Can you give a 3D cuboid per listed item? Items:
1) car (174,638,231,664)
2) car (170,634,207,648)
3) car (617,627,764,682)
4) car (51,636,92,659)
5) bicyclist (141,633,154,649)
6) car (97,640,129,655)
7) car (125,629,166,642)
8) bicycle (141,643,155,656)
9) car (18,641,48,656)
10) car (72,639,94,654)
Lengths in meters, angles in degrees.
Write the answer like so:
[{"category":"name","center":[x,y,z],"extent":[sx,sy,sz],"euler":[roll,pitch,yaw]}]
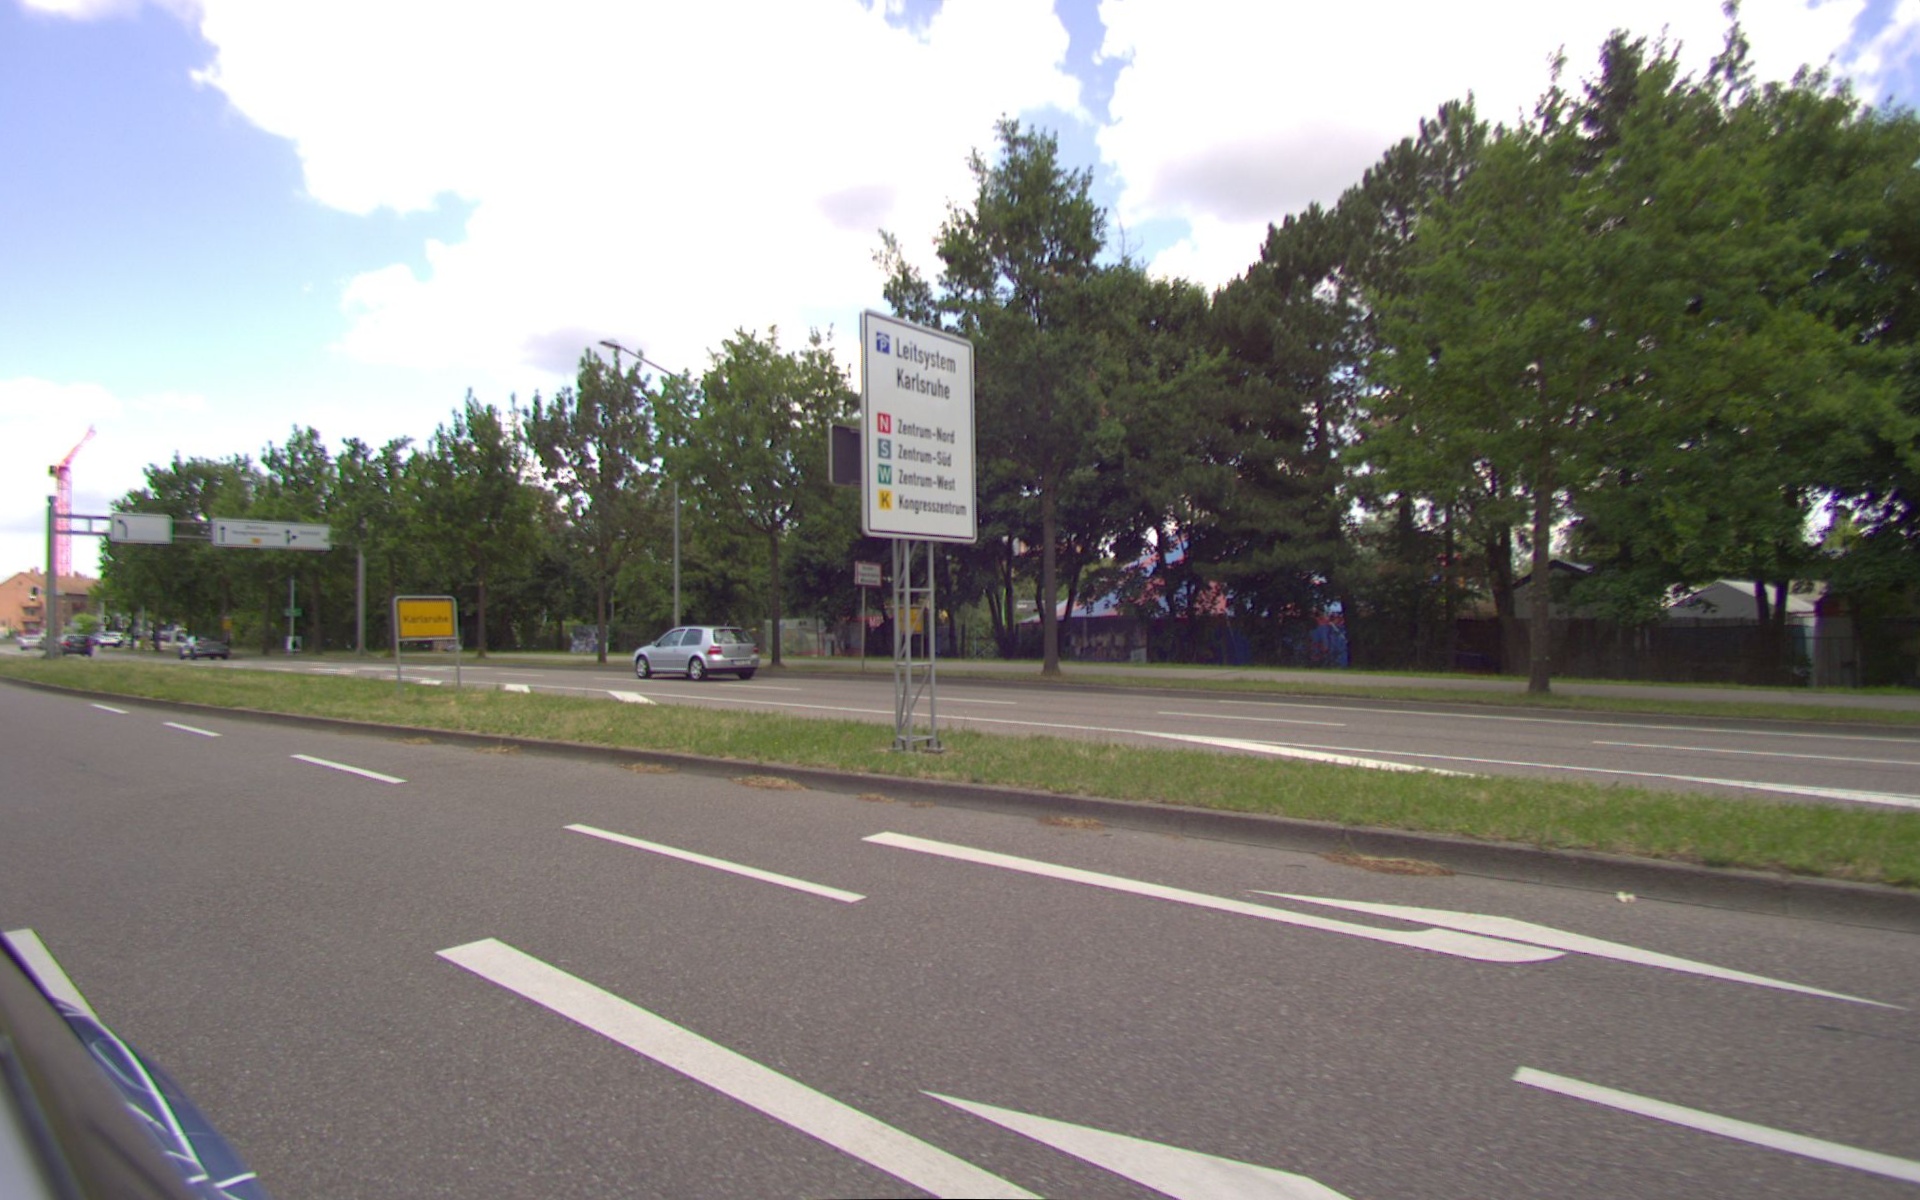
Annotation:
[{"category":"car","center":[-45.818,3.075,61.178],"extent":[4.569,1.557,1.724],"euler":[-2,-3,40]},{"category":"car","center":[-102.851,5.419,134.979],"extent":[1.814,1.813,4.796],"euler":[1,-3,-9]},{"category":"car","center":[-7.261,1.431,26.988],"extent":[4.378,1.339,1.623],"euler":[-2,-3,41]},{"category":"car","center":[-65.201,3.489,74.266],"extent":[4.274,1.581,1.723],"euler":[-2,-4,42]},{"category":"bicyclist","center":[-80.981,4.083,100.891],"extent":[0.883,1.576,0.821],"euler":[-2,0,41]},{"category":"car","center":[-90.106,5.079,107.730],"extent":[1.883,1.552,4.381],"euler":[1,-3,-30]},{"category":"car","center":[-98.204,4.251,122.114],"extent":[1.814,1.491,4.763],"euler":[0,-1,-10]},{"category":"bicycle","center":[-80.979,4.952,100.902],"extent":[2.015,1.228,0.753],"euler":[-2,0,41]},{"category":"car","center":[-89.207,4.641,97.428],"extent":[1.740,1.451,4.318],"euler":[1,-3,-37]},{"category":"car","center":[-97.662,5.156,112.685],"extent":[1.701,1.603,5.019],"euler":[2,-3,-41]}]
